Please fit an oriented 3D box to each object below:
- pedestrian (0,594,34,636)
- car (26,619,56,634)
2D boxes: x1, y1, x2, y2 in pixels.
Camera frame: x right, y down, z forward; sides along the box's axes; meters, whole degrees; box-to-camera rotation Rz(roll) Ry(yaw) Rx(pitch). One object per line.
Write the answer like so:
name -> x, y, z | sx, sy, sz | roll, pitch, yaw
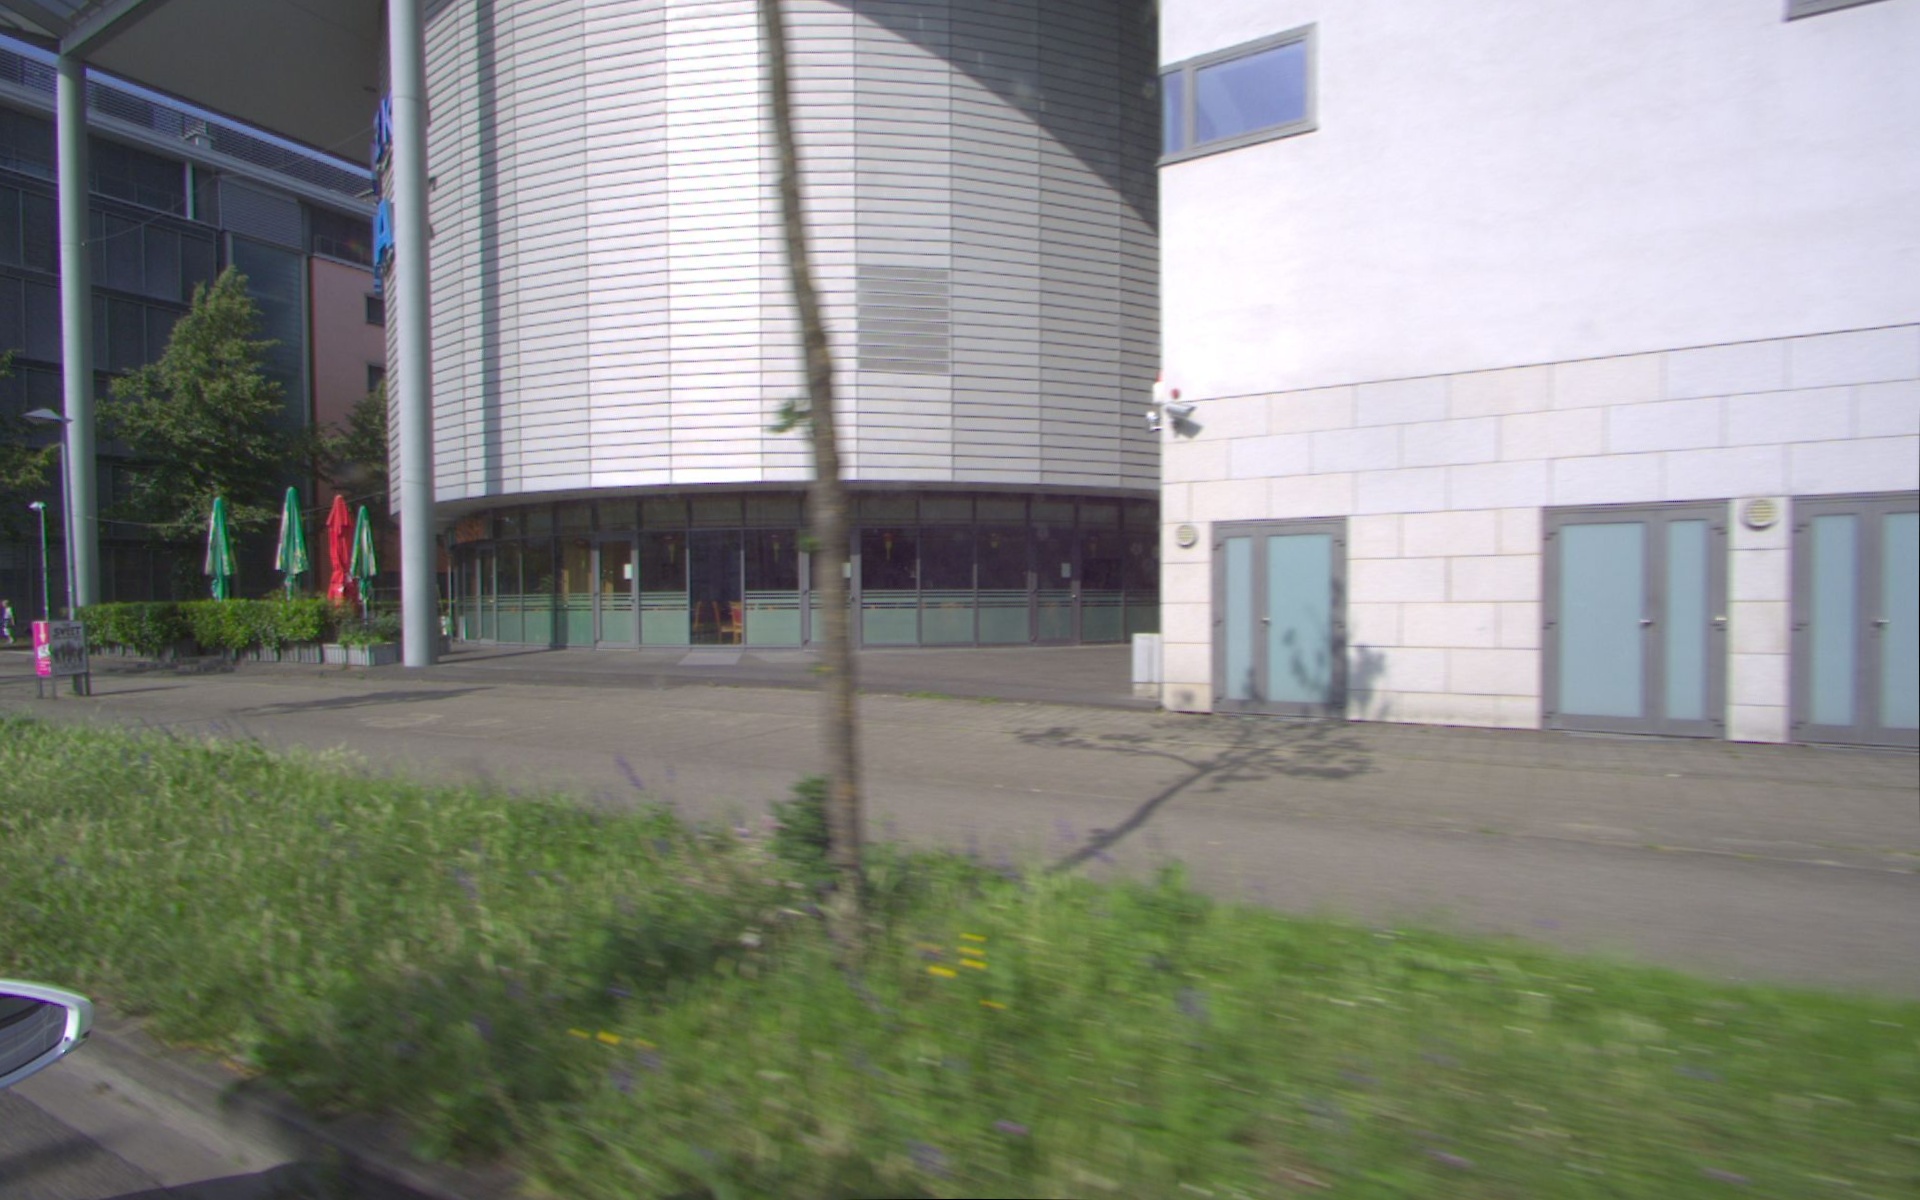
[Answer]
pedestrian -> -36.686, 0.581, 38.963 | 0.702, 1.637, 0.776 | 0, 0, 29
car -> -36.469, 1.043, 39.729 | 0.491, 0.595, 0.764 | 0, 0, 29
